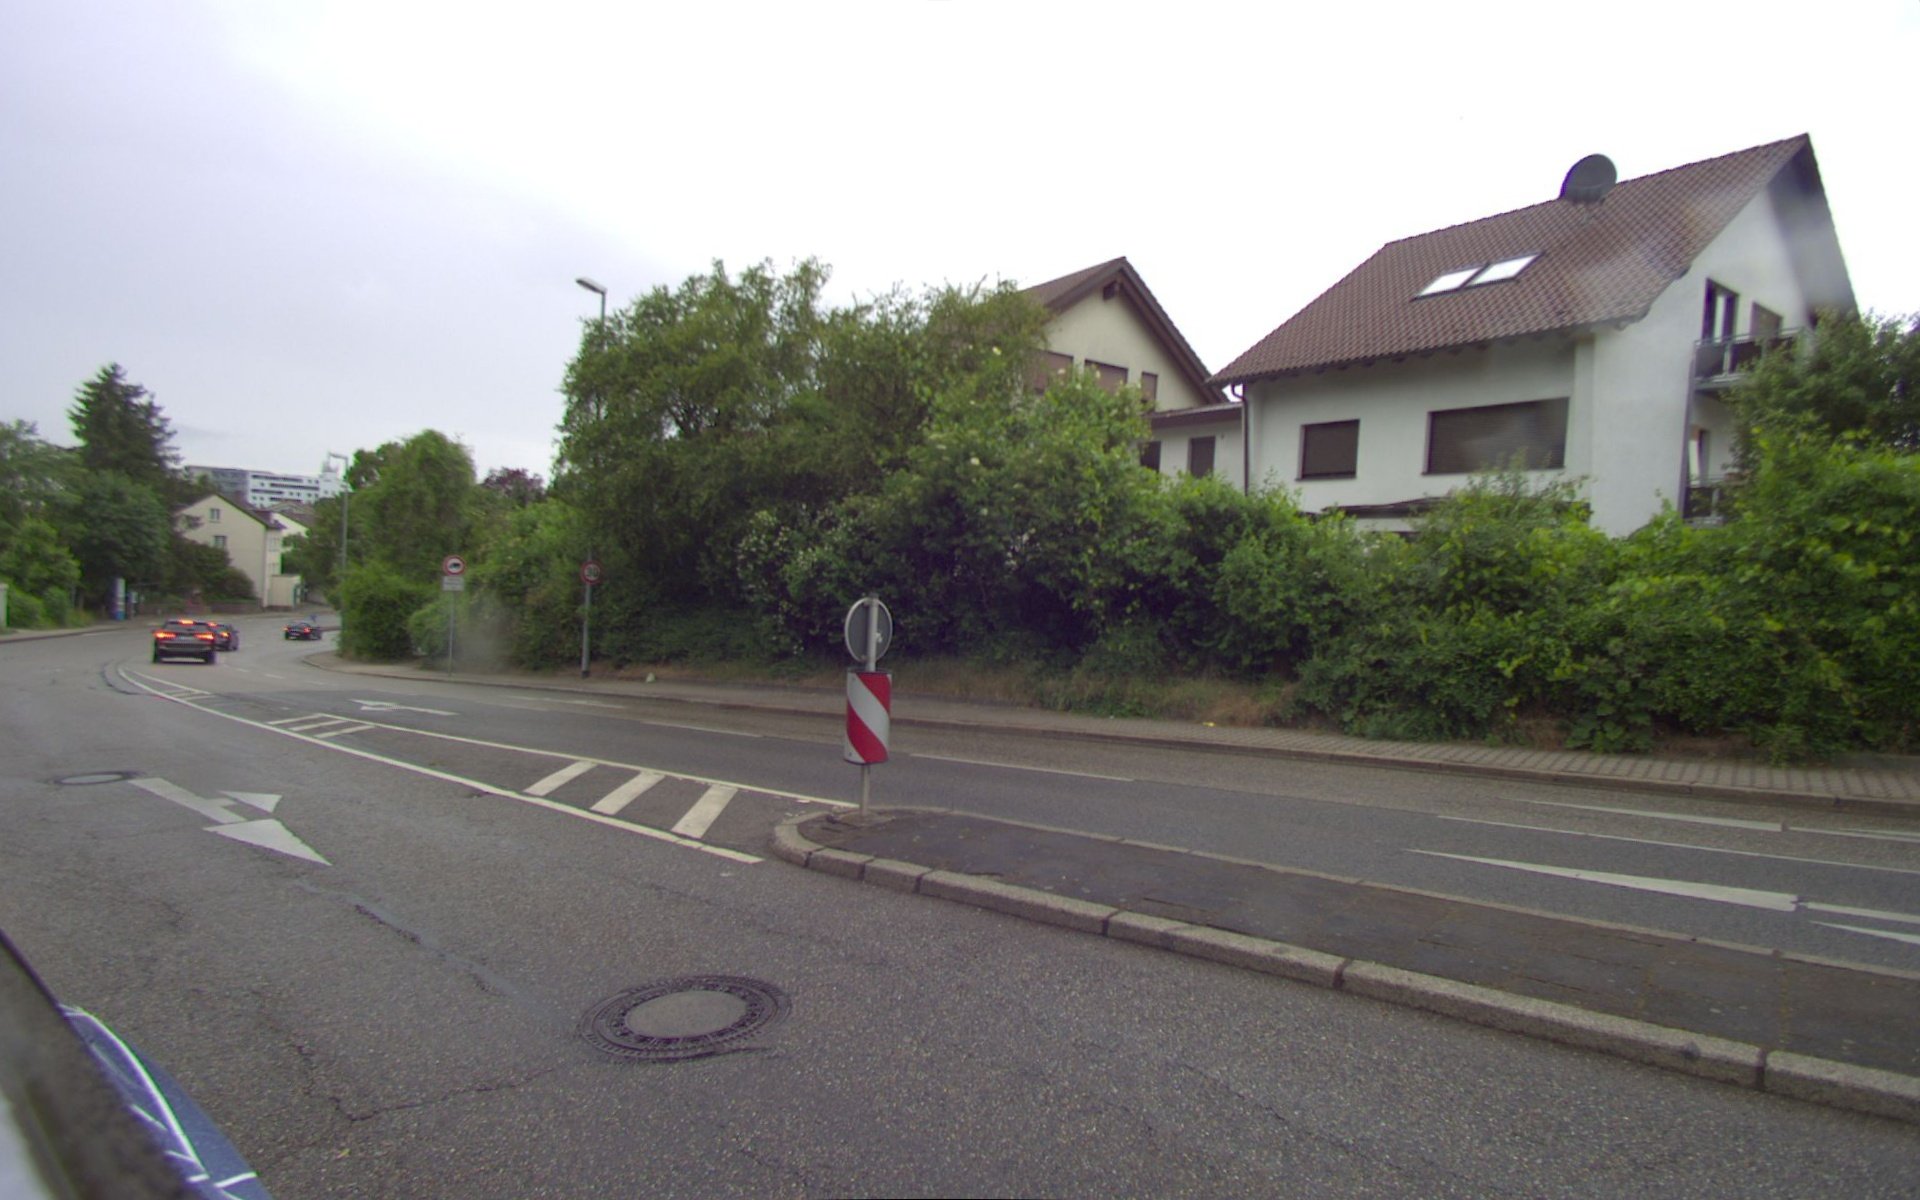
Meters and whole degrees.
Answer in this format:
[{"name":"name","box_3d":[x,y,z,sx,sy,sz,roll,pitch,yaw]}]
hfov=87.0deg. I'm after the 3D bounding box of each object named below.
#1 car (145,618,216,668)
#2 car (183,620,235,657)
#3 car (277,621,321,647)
[{"name":"car","box_3d":[-31.256,1.721,40.533,1.931,1.860,4.006,4,-4,-40]},{"name":"car","box_3d":[-42.790,2.188,57.740,2.097,2.029,4.097,2,-3,-33]},{"name":"car","box_3d":[-51.267,2.646,78.542,1.965,1.929,4.012,1,-2,-20]}]
